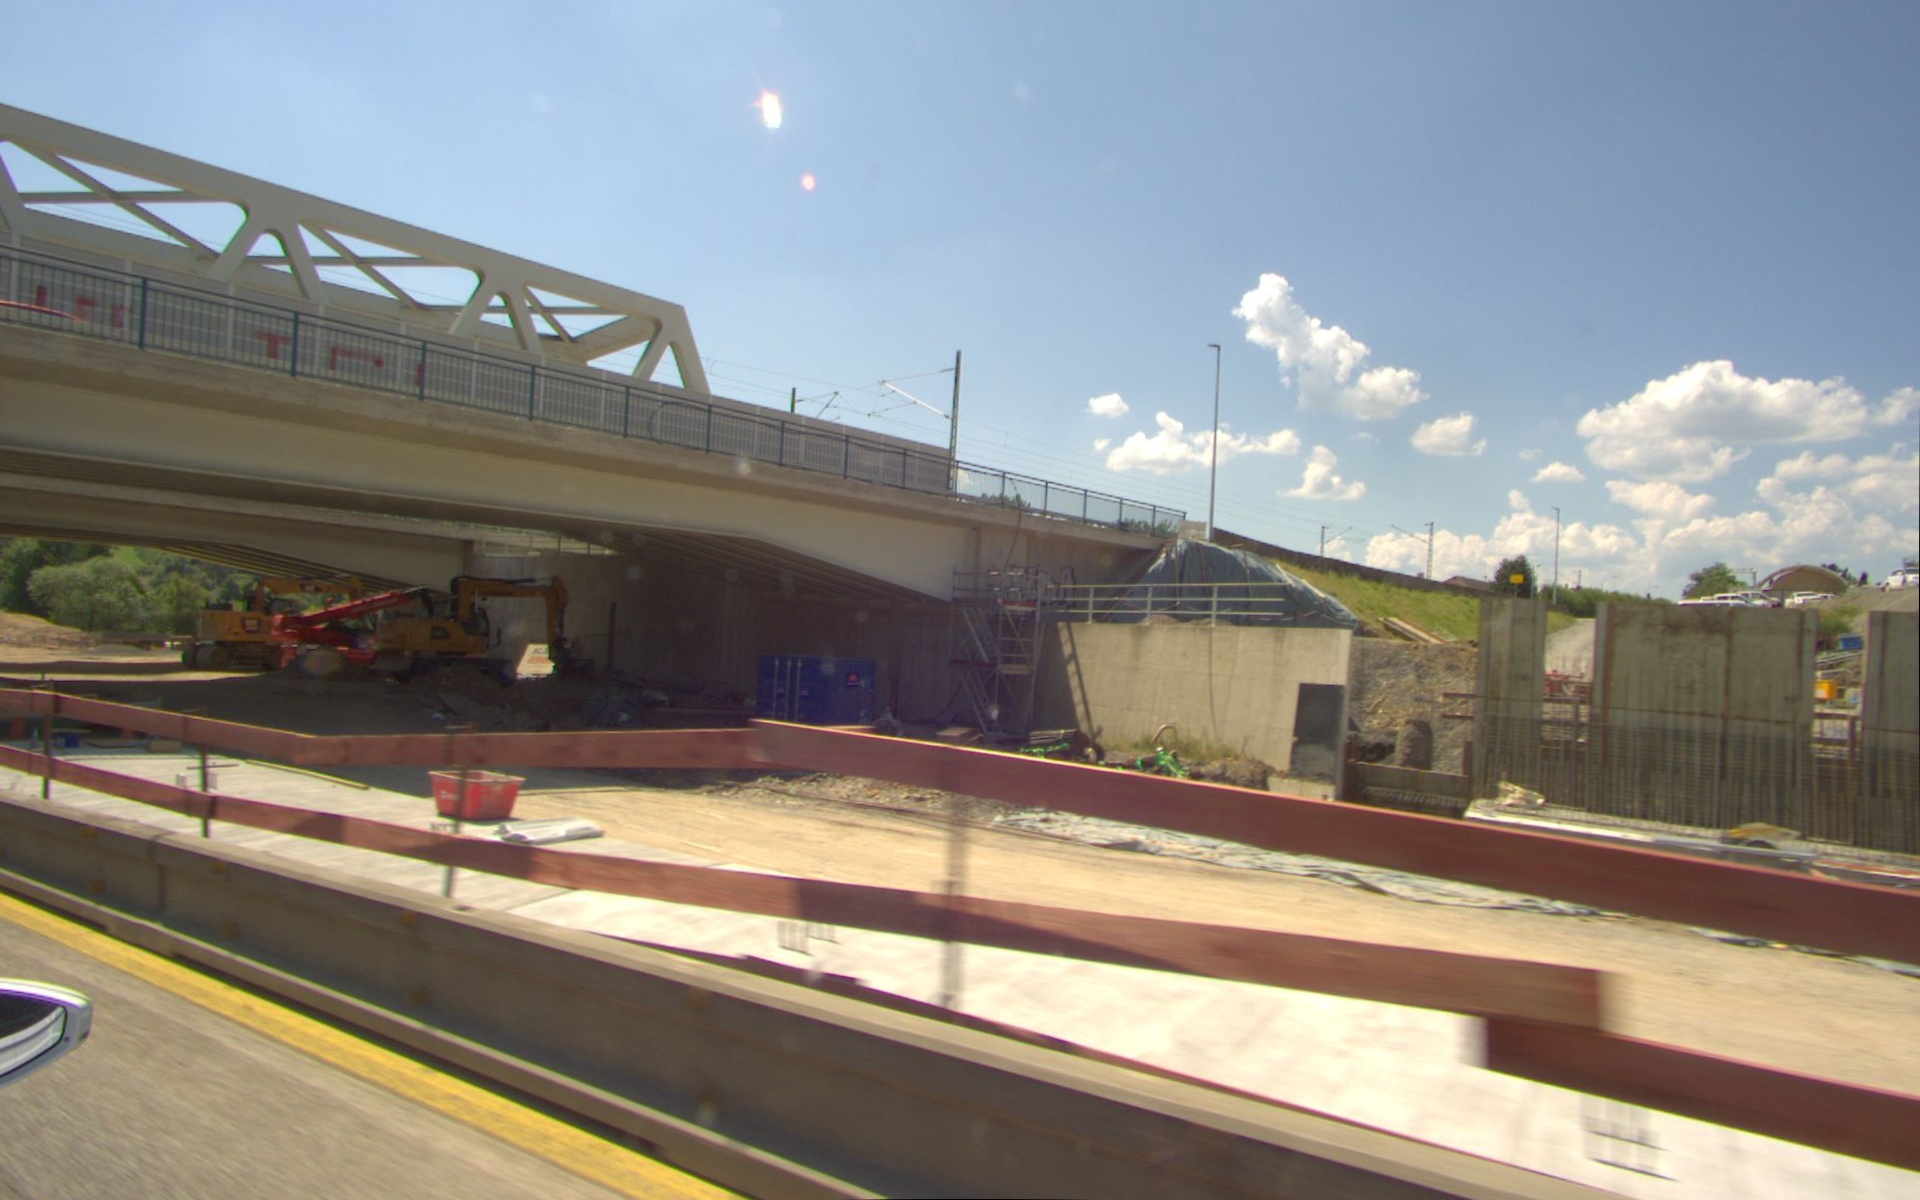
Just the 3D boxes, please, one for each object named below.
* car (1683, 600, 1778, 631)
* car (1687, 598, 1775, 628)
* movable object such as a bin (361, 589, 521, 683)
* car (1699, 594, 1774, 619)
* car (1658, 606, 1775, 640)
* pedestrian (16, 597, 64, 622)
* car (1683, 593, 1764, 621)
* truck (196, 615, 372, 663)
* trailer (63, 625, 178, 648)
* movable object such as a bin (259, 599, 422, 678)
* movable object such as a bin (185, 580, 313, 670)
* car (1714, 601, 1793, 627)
[{"bbox_3d":[50.986,1.070,66.385,4.922,1.984,1.988,-2,-3,36],"label":"car"},{"bbox_3d":[55.602,0.978,72.308,4.922,1.984,1.988,-2,-3,36],"label":"car"},{"bbox_3d":[-19.788,1.451,38.344,2.951,3.327,4.543,-1,-4,36],"label":"movable object such as a bin"},{"bbox_3d":[65.876,0.565,85.074,4.922,1.984,1.988,-2,-3,36],"label":"car"},{"bbox_3d":[45.329,1.413,60.154,5.499,1.984,1.988,-2,-3,36],"label":"car"},{"bbox_3d":[-78.862,0.866,85.860,3.942,2.039,1.991,-1,-2,31],"label":"pedestrian"},{"bbox_3d":[59.604,0.569,78.317,4.922,1.984,1.988,-2,-3,36],"label":"car"},{"bbox_3d":[-32.579,1.922,48.491,2.629,2.099,6.508,1,-3,35],"label":"truck"},{"bbox_3d":[-48.422,2.132,57.850,2.026,1.235,4.707,-1,-3,32],"label":"trailer"},{"bbox_3d":[-25.903,1.705,42.068,2.464,3.093,5.228,-1,-4,36],"label":"movable object such as a bin"},{"bbox_3d":[-30.270,1.149,42.668,2.872,3.585,3.863,-2,-4,43],"label":"movable object such as a bin"},{"bbox_3d":[64.959,1.207,82.080,4.922,1.984,1.988,-2,-3,36],"label":"car"}]
